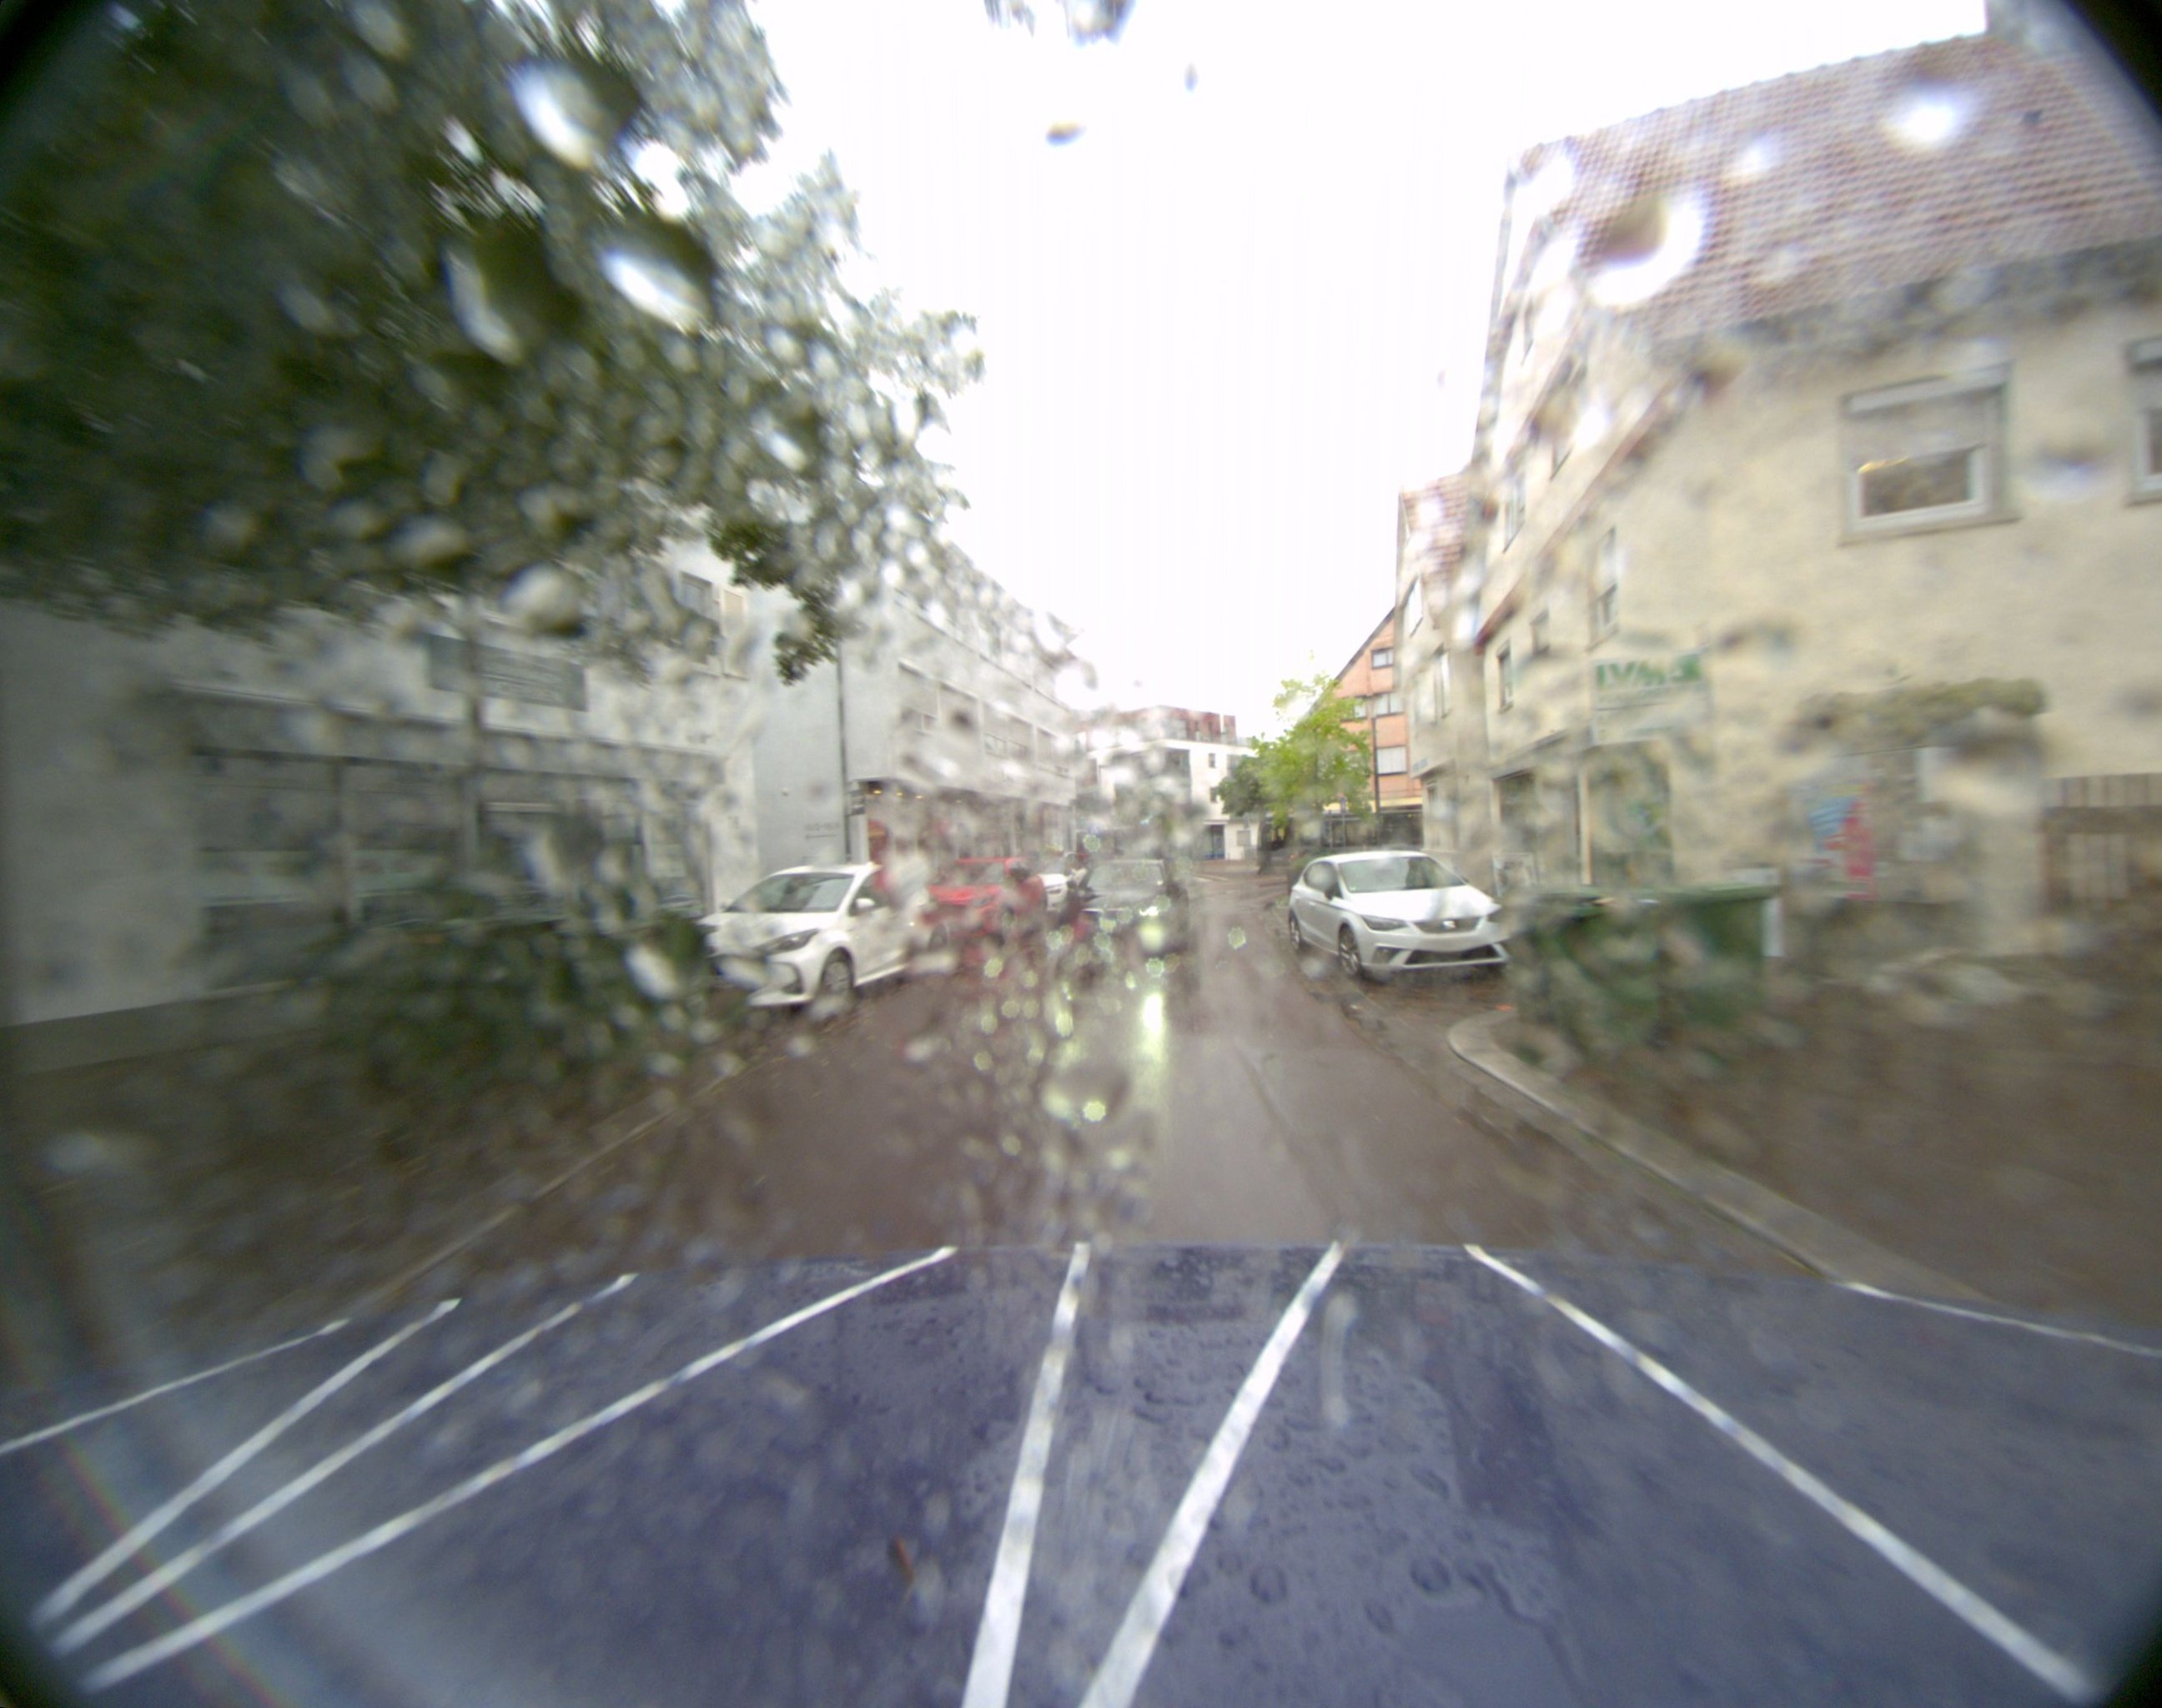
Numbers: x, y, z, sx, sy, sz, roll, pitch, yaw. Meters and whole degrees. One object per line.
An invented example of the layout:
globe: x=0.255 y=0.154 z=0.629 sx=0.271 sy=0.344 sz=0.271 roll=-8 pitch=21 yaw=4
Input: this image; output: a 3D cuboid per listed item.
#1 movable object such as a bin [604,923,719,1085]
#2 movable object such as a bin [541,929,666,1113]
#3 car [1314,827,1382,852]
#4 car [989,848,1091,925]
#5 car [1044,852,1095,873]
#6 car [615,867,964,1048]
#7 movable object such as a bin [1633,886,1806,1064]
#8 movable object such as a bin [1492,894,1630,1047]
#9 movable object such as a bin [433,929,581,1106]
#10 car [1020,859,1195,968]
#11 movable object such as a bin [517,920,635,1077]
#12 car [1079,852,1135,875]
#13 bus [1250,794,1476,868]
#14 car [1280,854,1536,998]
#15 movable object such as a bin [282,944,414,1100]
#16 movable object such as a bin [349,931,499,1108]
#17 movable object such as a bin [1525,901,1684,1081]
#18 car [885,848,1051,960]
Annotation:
movable object such as a bin: x=-3.225 y=1.139 z=5.881 sx=0.535 sy=1.143 sz=0.501 roll=-2 pitch=2 yaw=4
movable object such as a bin: x=-3.303 y=1.136 z=5.286 sx=0.478 sy=1.162 sz=0.489 roll=-2 pitch=2 yaw=4
car: x=18.168 y=-0.980 z=51.676 sx=3.989 sy=1.477 sz=2.003 roll=-2 pitch=1 yaw=33
car: x=-0.931 y=0.745 z=19.707 sx=1.693 sy=1.680 sz=4.280 roll=-2 pitch=1 yaw=9
car: x=-0.961 y=0.697 z=61.976 sx=3.989 sy=1.565 sz=1.722 roll=-1 pitch=2 yaw=41
car: x=-2.995 y=0.973 z=9.002 sx=1.693 sy=1.530 sz=4.407 roll=-2 pitch=0 yaw=12
movable object such as a bin: x=4.368 y=0.804 z=5.240 sx=0.660 sy=1.103 sz=0.624 roll=-2 pitch=2 yaw=5
movable object such as a bin: x=3.762 y=0.897 z=5.992 sx=0.693 sy=1.080 sz=0.547 roll=-4 pitch=1 yaw=5
movable object such as a bin: x=-4.125 y=1.153 z=5.499 sx=0.545 sy=1.143 sz=0.585 roll=-2 pitch=2 yaw=4
car: x=0.708 y=0.878 z=13.149 sx=1.996 sy=1.398 sz=4.898 roll=-3 pitch=0 yaw=14
movable object such as a bin: x=-4.036 y=1.138 z=6.103 sx=0.531 sy=1.143 sz=0.501 roll=-2 pitch=2 yaw=4
car: x=1.969 y=0.736 z=58.142 sx=3.989 sy=1.565 sz=1.722 roll=-1 pitch=2 yaw=41
bus: x=14.507 y=-1.080 z=39.684 sx=10.665 sy=3.281 sz=2.684 roll=-2 pitch=2 yaw=30
car: x=3.872 y=0.746 z=9.740 sx=1.694 sy=1.414 sz=3.817 roll=-2 pitch=0 yaw=2
movable object such as a bin: x=-5.450 y=1.232 z=5.671 sx=0.431 sy=1.041 sz=0.501 roll=-2 pitch=2 yaw=4
movable object such as a bin: x=-4.735 y=1.169 z=5.510 sx=0.504 sy=1.143 sz=0.581 roll=-2 pitch=2 yaw=4
movable object such as a bin: x=3.573 y=0.911 z=5.233 sx=0.660 sy=1.103 sz=0.624 roll=-2 pitch=2 yaw=5
car: x=-1.892 y=0.796 z=14.072 sx=1.693 sy=1.680 sz=3.960 roll=-2 pitch=1 yaw=12
